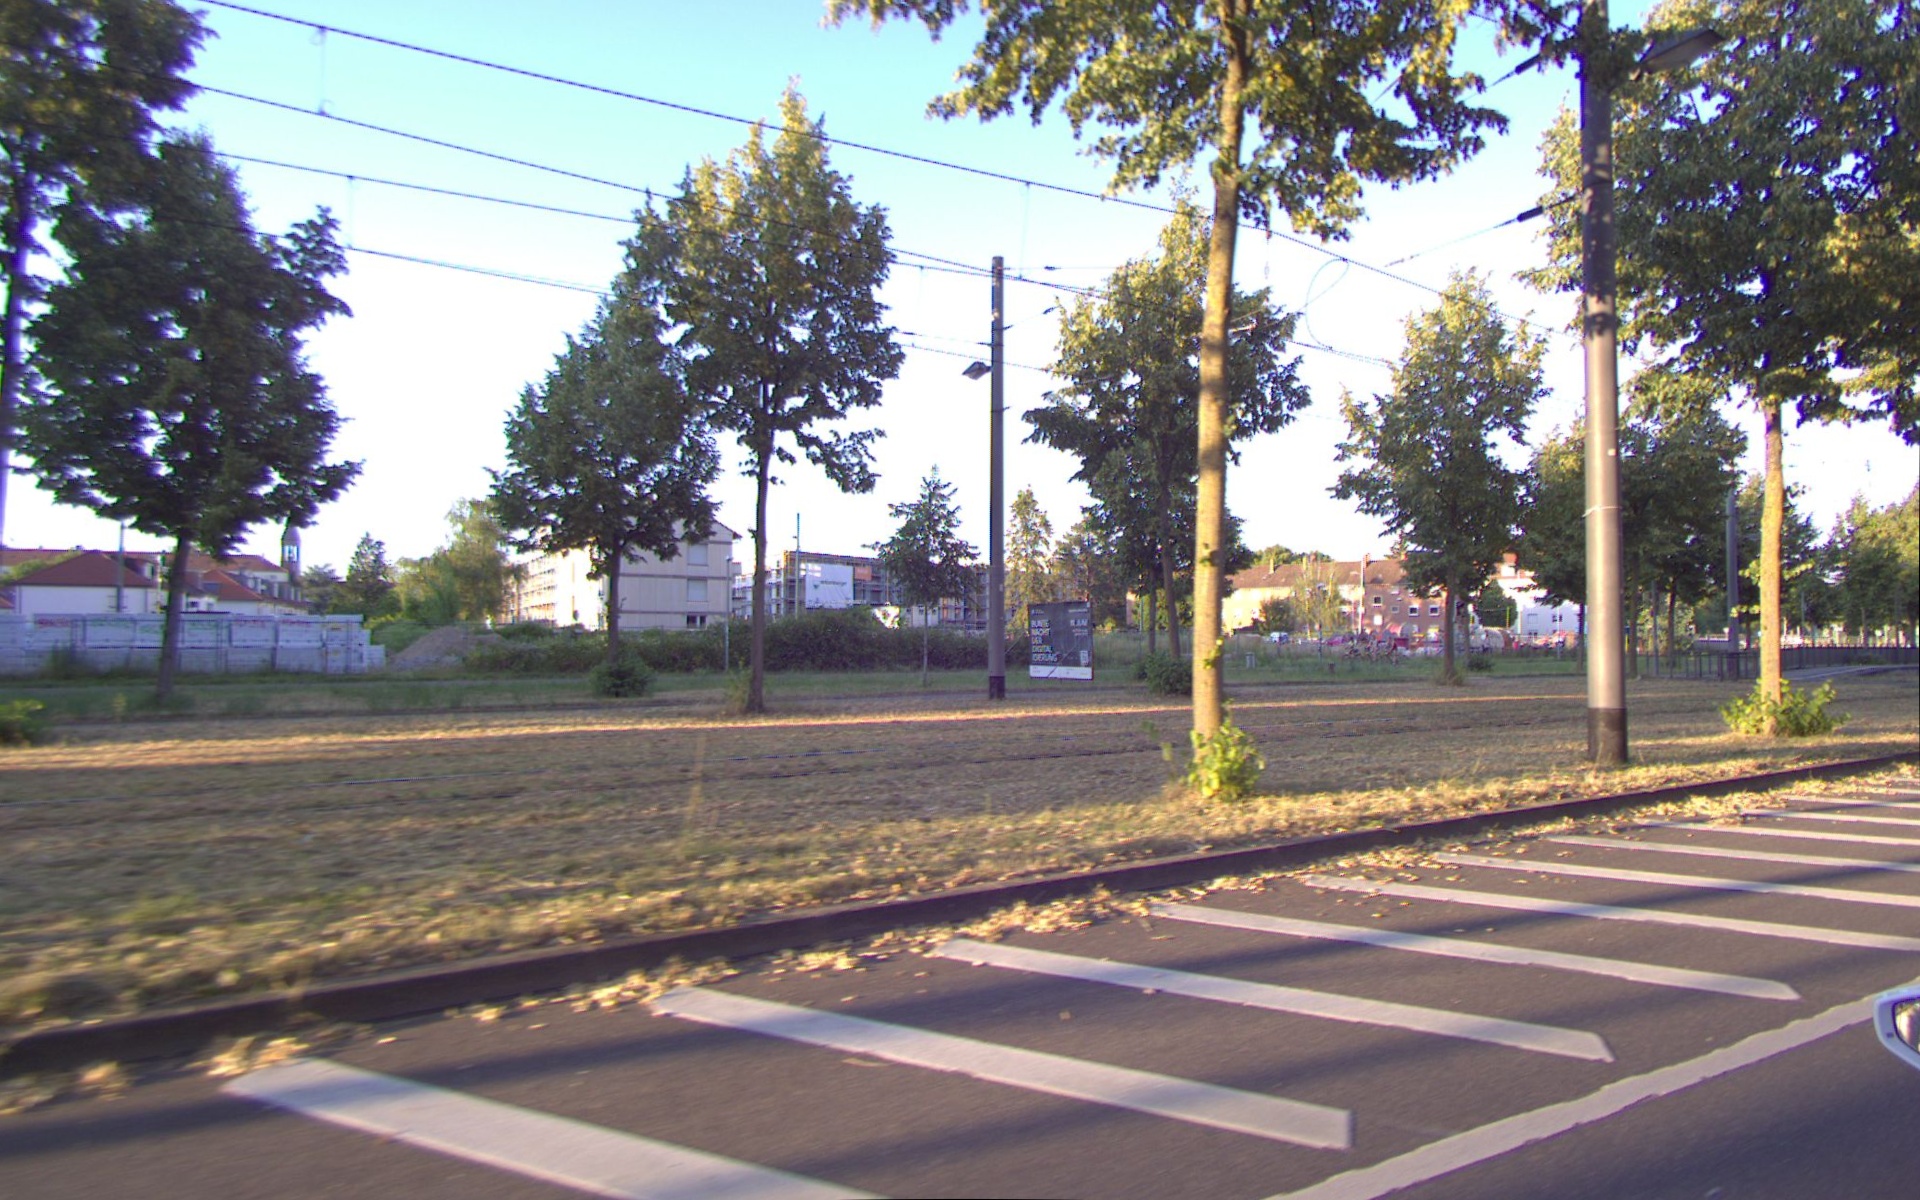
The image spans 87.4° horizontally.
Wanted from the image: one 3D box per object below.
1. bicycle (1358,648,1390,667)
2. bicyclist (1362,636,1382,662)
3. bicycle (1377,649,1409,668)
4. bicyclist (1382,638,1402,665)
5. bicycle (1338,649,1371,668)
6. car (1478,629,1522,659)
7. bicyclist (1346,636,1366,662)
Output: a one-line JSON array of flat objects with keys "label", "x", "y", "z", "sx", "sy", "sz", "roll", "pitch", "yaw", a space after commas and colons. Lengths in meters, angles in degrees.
[{"label": "bicycle", "x": 23.628, "y": 3.280, "z": 57.269, "sx": 2.060, "sy": 1.024, "sz": 0.616, "roll": 2, "pitch": -2, "yaw": -33}, {"label": "bicyclist", "x": 23.464, "y": 2.799, "z": 57.187, "sx": 0.927, "sy": 1.475, "sz": 0.616, "roll": 1, "pitch": -2, "yaw": -33}, {"label": "bicycle", "x": 24.335, "y": 3.284, "z": 56.485, "sx": 2.060, "sy": 1.024, "sz": 0.616, "roll": 2, "pitch": -2, "yaw": -33}, {"label": "bicyclist", "x": 24.325, "y": 2.878, "z": 56.496, "sx": 0.927, "sy": 1.475, "sz": 0.616, "roll": 1, "pitch": -2, "yaw": -33}, {"label": "bicycle", "x": 21.941, "y": 3.247, "z": 55.872, "sx": 2.060, "sy": 1.024, "sz": 0.616, "roll": 2, "pitch": -2, "yaw": -33}, {"label": "car", "x": 43.017, "y": 3.486, "z": 80.011, "sx": 2.384, "sy": 2.254, "sz": 5.899, "roll": -1, "pitch": -2, "yaw": 35}, {"label": "bicyclist", "x": 22.076, "y": 2.712, "z": 55.981, "sx": 0.927, "sy": 1.440, "sz": 0.616, "roll": 1, "pitch": -2, "yaw": -33}]
